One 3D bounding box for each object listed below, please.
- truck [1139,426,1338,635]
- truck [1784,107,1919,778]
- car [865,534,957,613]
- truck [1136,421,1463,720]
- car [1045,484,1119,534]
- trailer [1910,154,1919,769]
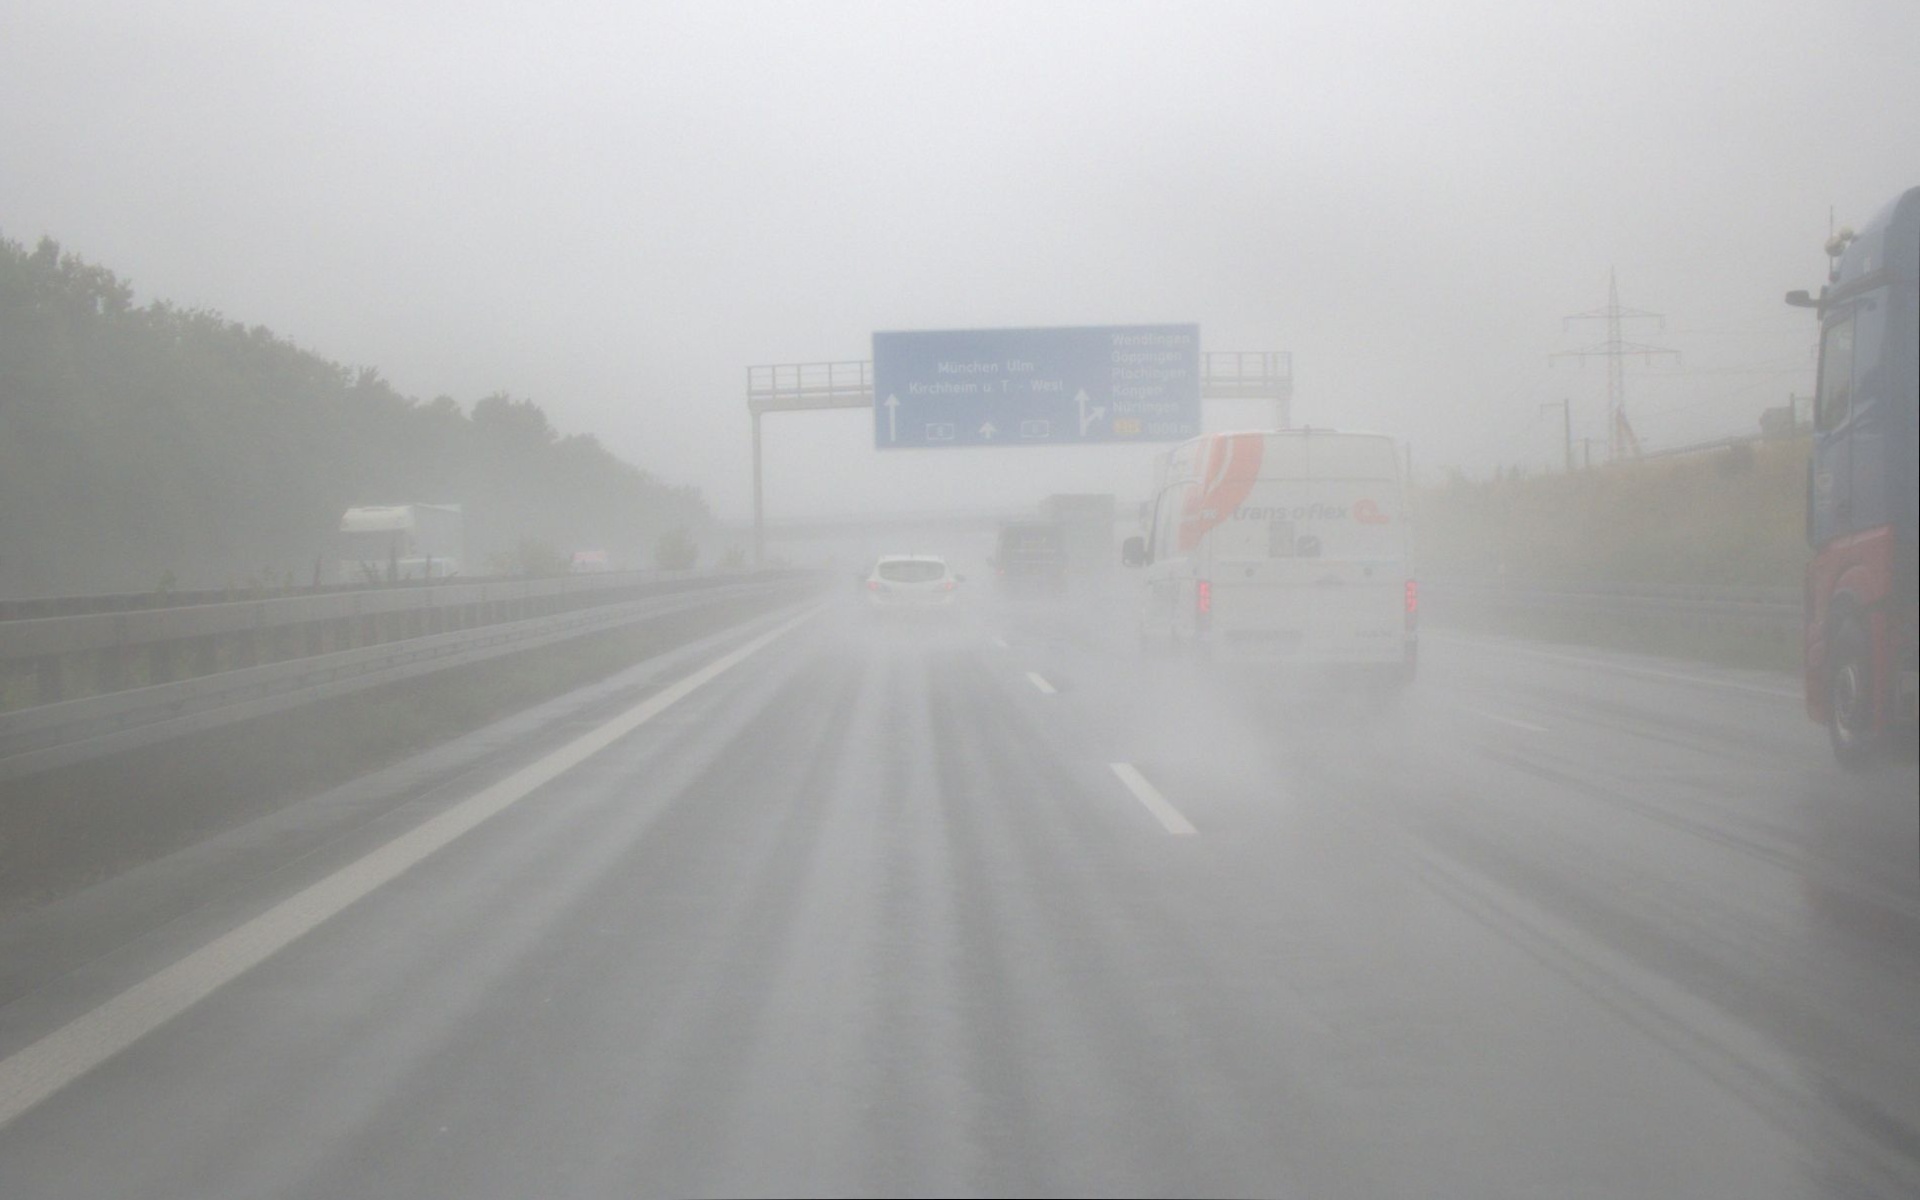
[{"bbox_3d":[6.556,-1.631,83.838,3.039,4.572,16.352,1,1,-2],"label":"truck"},{"bbox_3d":[6.915,-0.935,20.763,2.496,3.970,5.076,1,1,-1],"label":"truck"},{"bbox_3d":[-0.891,-0.502,62.291,1.605,1.333,3.849,1,2,-1],"label":"car"},{"bbox_3d":[2.996,-0.322,31.671,2.419,2.484,5.560,1,2,0],"label":"truck"},{"bbox_3d":[5.059,-3.785,143.194,2.788,2.007,4.993,1,2,-1],"label":"car"},{"bbox_3d":[7.079,-0.774,15.003,2.497,3.869,11.068,1,2,-1],"label":"trailer"}]
